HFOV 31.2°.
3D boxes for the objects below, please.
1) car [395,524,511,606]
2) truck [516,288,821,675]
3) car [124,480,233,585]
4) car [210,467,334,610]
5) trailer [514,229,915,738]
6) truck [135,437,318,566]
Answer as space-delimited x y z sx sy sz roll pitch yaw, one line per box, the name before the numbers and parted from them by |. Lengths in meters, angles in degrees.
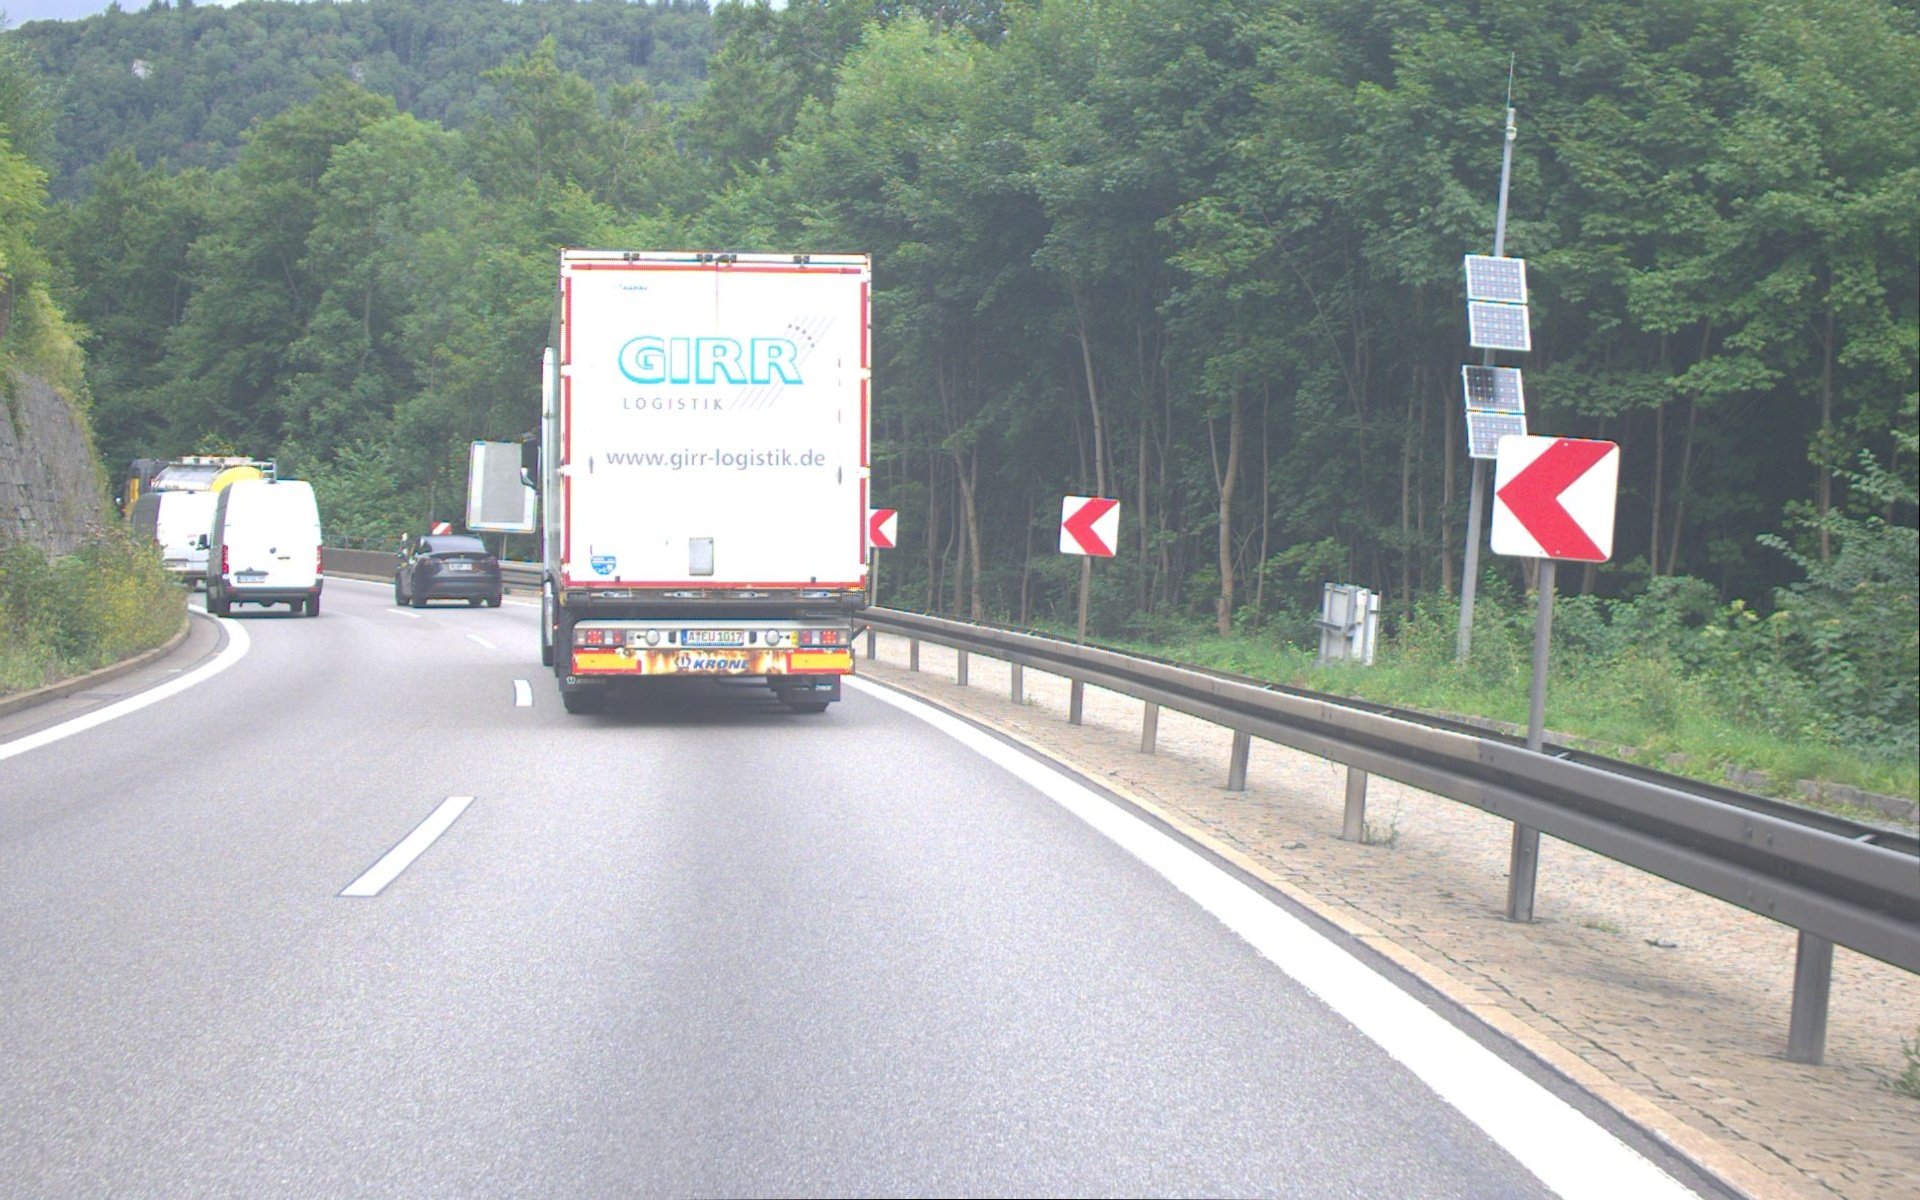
car | -11.243 -0.787 76.064 1.993 1.656 4.001 2 1 -16
truck | -3.553 -1.414 40.341 3.057 3.972 7.189 3 2 -7
car | -21.048 -1.841 92.426 1.939 2.663 5.993 2 1 -21
car | -13.997 -1.281 69.658 1.988 2.663 6.938 2 1 -14
trailer | -2.737 -1.201 33.966 3.057 3.972 12.140 3 2 -7
truck | -24.279 -3.276 113.108 3.057 3.972 13.702 -1 2 -24
